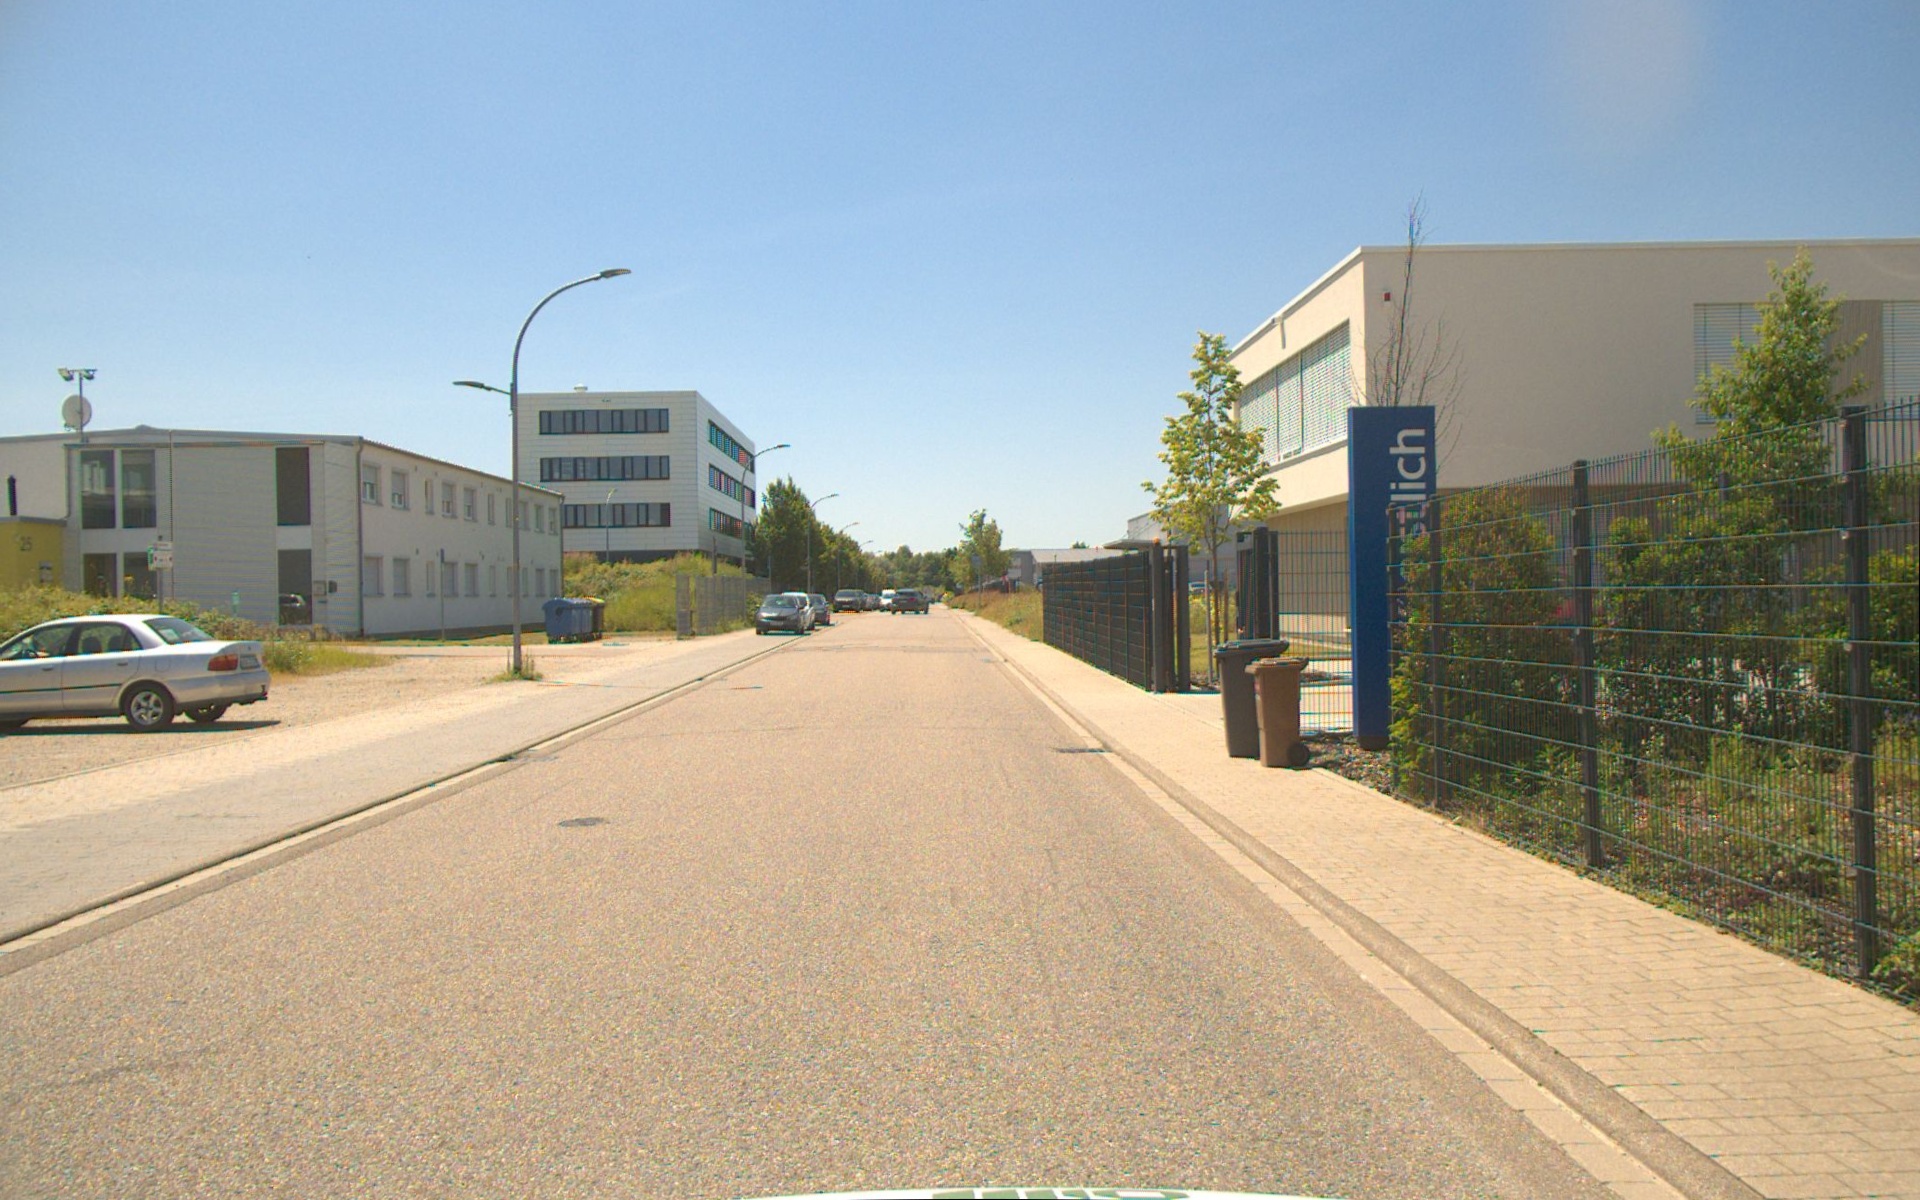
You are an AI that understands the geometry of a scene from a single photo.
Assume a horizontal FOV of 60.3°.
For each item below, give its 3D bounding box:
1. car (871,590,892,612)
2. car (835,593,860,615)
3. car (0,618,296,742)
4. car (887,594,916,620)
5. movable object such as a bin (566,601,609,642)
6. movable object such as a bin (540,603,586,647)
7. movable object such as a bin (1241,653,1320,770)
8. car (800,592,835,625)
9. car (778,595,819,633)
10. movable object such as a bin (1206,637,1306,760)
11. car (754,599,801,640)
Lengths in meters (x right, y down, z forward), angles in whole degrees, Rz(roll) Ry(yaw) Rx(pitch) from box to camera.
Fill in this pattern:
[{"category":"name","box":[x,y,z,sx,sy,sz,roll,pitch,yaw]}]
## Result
[{"category":"car","box":[-5.893,0.075,124.878,1.476,1.671,3.206,-1,0,-1]},{"category":"car","box":[-7.936,0.255,117.156,1.611,1.516,3.206,-1,0,-1]},{"category":"car","box":[-10.868,0.998,20.851,4.191,1.388,1.897,-2,0,-1]},{"category":"car","box":[-3.757,0.450,106.231,1.789,1.671,3.206,-1,0,-1]},{"category":"movable object such as a bin","box":[-13.368,0.760,59.354,1.260,1.437,1.804,-1,0,-5]},{"category":"movable object such as a bin","box":[-13.372,0.825,55.763,1.260,1.437,1.804,-1,0,-5]},{"category":"movable object such as a bin","box":[2.826,0.979,14.609,0.541,0.944,0.522,-5,1,3]},{"category":"car","box":[-6.716,0.387,78.118,1.437,1.516,3.206,-1,0,-1]},{"category":"car","box":[-6.702,0.576,68.892,1.437,1.516,3.206,-1,0,-1]},{"category":"movable object such as a bin","box":[2.782,0.919,15.592,0.763,1.037,0.665,-5,1,3]},{"category":"car","box":[-6.842,0.717,62.195,1.437,1.516,3.206,-1,0,-1]}]
